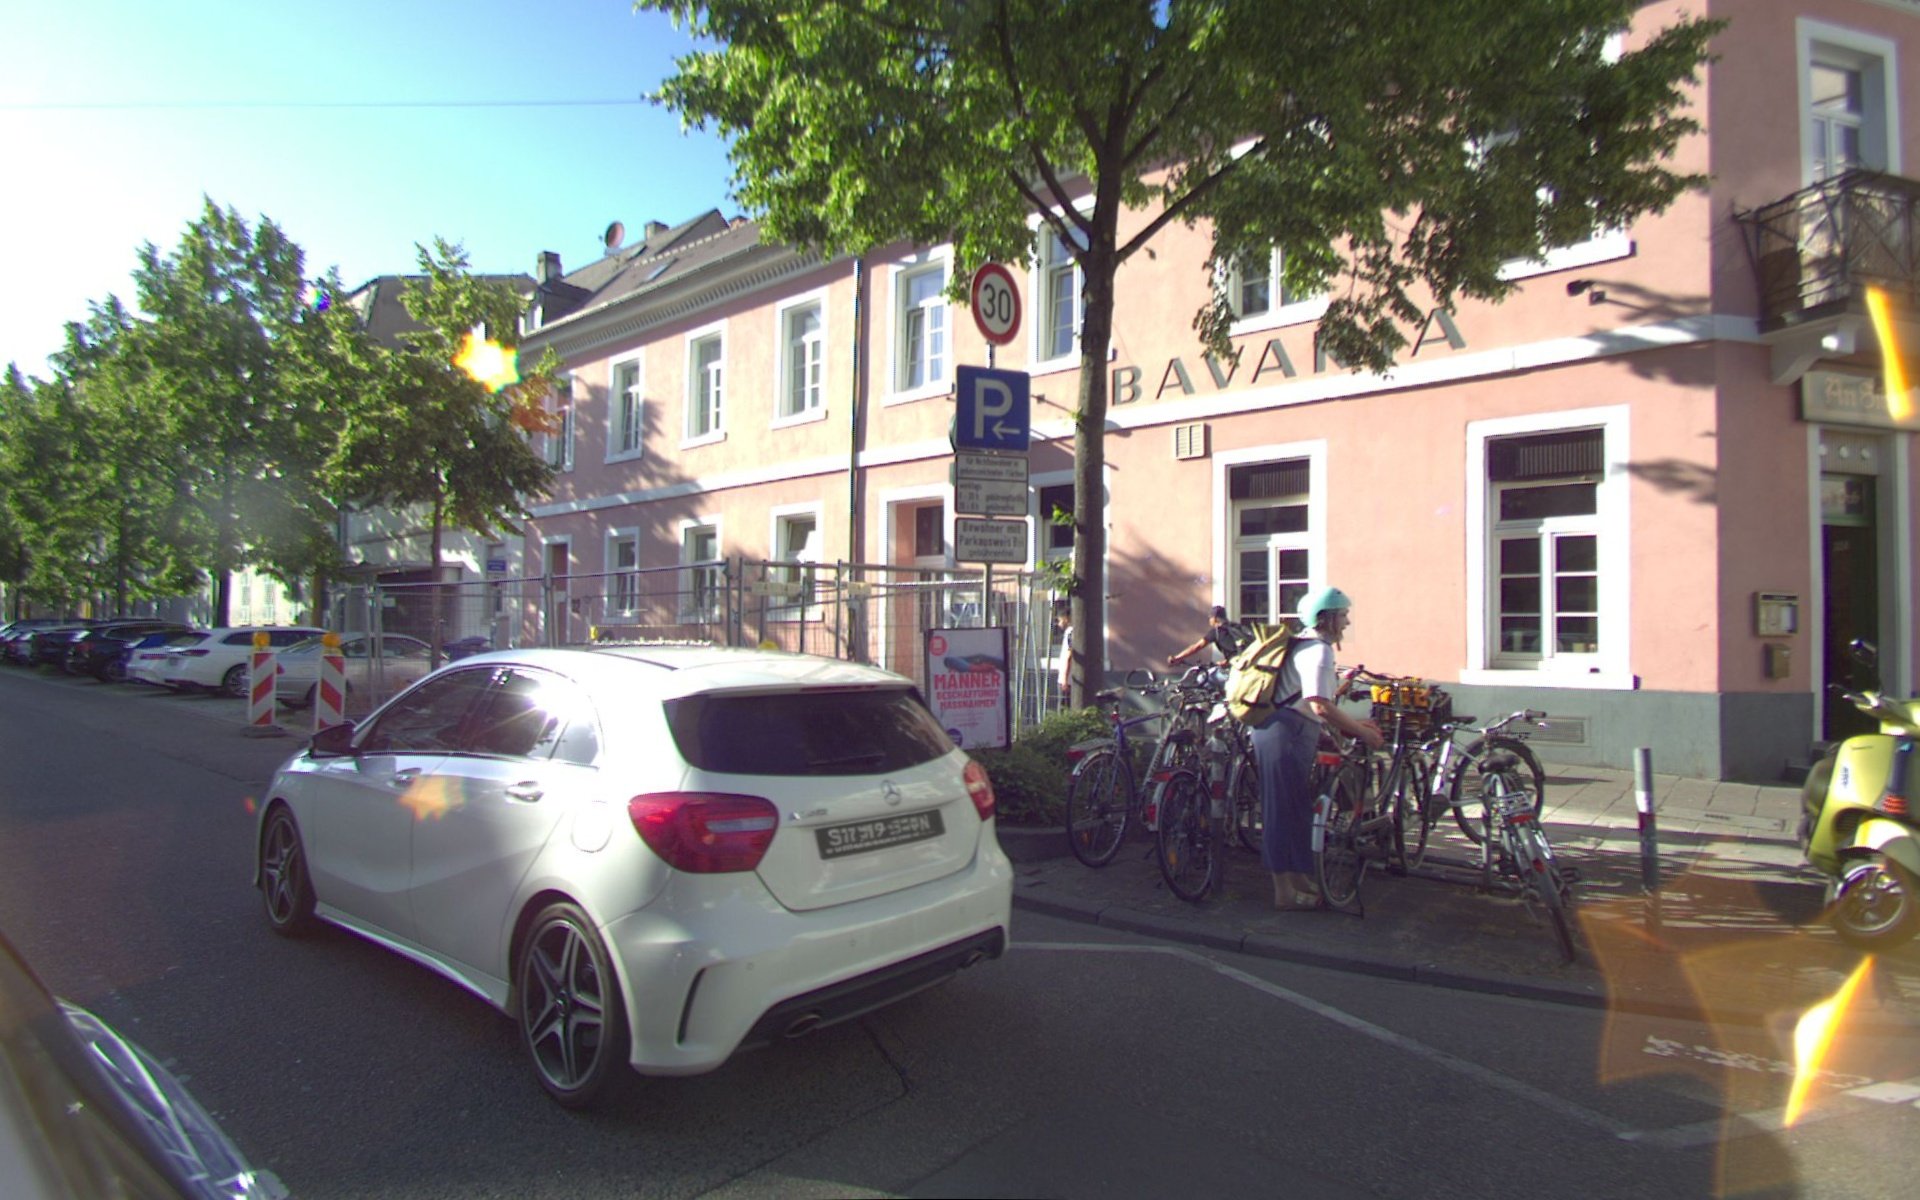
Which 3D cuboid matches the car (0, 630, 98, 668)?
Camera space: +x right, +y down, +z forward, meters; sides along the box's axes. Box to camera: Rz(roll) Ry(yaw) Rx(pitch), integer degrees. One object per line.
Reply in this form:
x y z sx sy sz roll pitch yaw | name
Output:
-45.102 2.346 49.396 1.916 1.785 4.418 -2 -2 42 | car

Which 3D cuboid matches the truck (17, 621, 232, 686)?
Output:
-26.791 1.706 32.627 1.998 1.953 5.033 -2 -3 40 | truck

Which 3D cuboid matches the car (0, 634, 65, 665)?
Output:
-50.341 2.612 53.515 1.917 1.552 4.416 -2 -2 44 | car

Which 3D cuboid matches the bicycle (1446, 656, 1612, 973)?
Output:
2.965 0.949 5.188 0.598 1.261 1.839 -2 -2 33 | bicycle

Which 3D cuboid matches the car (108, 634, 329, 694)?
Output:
-20.242 1.694 27.808 1.808 1.474 4.630 -2 -2 42 | car

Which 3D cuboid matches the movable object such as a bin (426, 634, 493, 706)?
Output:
-8.570 1.183 17.332 0.743 1.195 0.725 -1 -3 32 | movable object such as a bin

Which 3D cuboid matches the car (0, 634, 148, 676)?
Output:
-34.596 2.089 39.259 1.808 1.531 4.630 -2 -2 42 | car

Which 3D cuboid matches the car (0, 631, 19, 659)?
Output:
-63.790 2.914 65.182 1.910 1.848 4.305 -1 -2 32 | car

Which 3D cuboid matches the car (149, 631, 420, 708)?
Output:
-14.715 1.442 22.306 1.805 1.476 4.636 -1 -2 38 | car

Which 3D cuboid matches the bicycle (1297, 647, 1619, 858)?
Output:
3.188 0.954 6.573 1.767 1.261 0.600 -1 -2 -2 | bicycle

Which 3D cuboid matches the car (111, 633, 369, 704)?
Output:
-16.821 1.536 23.869 1.805 1.476 4.636 -1 -2 38 | car

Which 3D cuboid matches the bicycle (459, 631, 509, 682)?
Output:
-12.096 1.419 25.691 1.627 1.255 0.499 -2 -4 40 | bicycle

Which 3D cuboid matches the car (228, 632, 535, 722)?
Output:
-10.586 1.334 18.870 1.805 1.423 4.636 -1 -2 38 | car

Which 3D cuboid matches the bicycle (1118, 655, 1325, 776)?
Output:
2.588 1.110 10.232 0.757 1.067 1.959 2 -3 -39 | bicycle

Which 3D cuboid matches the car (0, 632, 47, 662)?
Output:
-55.699 2.698 58.352 1.915 1.722 4.294 -1 -2 40 | car

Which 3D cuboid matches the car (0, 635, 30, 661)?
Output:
-57.896 2.842 59.604 1.916 1.552 4.417 -2 -2 43 | car

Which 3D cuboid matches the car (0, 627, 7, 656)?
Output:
-67.716 2.821 68.528 1.930 1.941 4.523 -2 -2 43 | car

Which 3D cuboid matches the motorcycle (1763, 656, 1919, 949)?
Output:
4.838 0.939 5.231 0.754 1.239 1.840 -1 -2 29 | motorcycle

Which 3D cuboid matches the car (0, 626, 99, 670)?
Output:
-43.178 2.194 47.034 1.916 1.965 4.630 -2 -2 42 | car

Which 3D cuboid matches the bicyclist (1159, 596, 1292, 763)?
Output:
2.655 0.769 10.167 0.757 1.572 1.042 2 -3 -39 | bicyclist

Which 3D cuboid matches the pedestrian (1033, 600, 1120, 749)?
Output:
1.353 0.851 11.790 0.813 1.666 0.604 -2 -4 44 | pedestrian

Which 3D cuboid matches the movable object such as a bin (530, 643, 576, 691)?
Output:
-9.290 1.531 23.108 0.731 1.068 0.688 -2 -4 42 | movable object such as a bin

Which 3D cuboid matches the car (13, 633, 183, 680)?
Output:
-32.019 2.053 37.711 1.808 1.584 4.630 -2 -2 42 | car

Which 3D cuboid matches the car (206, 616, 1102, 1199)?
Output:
-1.707 0.833 4.606 4.406 1.446 1.784 -2 -3 40 | car

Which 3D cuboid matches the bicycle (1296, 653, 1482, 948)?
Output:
2.385 0.948 5.495 0.598 1.261 1.839 -2 -2 33 | bicycle

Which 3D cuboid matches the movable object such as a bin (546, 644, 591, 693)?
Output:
-8.755 1.520 22.646 0.640 1.068 0.688 -2 -4 42 | movable object such as a bin

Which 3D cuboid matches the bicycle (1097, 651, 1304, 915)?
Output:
1.485 0.961 6.002 0.598 1.261 1.839 -2 -2 33 | bicycle

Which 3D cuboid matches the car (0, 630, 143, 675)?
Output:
-36.586 2.086 41.432 1.808 1.725 4.630 -2 -2 42 | car

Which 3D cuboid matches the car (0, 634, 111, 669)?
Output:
-40.659 2.258 44.745 1.682 1.470 4.598 -1 -2 40 | car

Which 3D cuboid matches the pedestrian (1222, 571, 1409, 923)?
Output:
1.855 0.731 5.403 0.758 1.720 0.792 -1 -2 8 | pedestrian

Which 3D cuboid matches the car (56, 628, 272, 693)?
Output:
-22.774 1.653 29.112 1.808 1.706 4.630 -2 -2 42 | car

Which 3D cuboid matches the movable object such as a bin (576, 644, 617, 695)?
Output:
-7.845 1.492 21.850 0.544 1.068 0.625 -2 -4 41 | movable object such as a bin

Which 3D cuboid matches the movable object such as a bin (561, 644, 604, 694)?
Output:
-8.287 1.504 22.222 0.574 1.068 0.688 -2 -4 41 | movable object such as a bin

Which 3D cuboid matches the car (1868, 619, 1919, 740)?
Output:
14.263 1.078 13.270 1.983 1.708 3.976 -1 -3 18 | car

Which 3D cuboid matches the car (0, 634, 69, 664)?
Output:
-53.661 2.772 57.562 1.808 1.594 4.294 -1 -2 40 | car

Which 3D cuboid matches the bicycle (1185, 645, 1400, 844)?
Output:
2.475 0.980 7.430 1.764 1.261 0.601 0 -2 -38 | bicycle

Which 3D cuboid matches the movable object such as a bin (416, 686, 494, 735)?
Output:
-7.198 1.563 14.412 1.077 0.621 0.621 -2 -4 41 | movable object such as a bin

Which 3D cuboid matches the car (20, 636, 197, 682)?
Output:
-30.318 2.057 36.141 1.808 1.474 4.630 -2 -2 42 | car

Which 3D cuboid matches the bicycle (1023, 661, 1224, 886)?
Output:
1.127 1.028 6.616 0.598 1.179 1.839 -2 -2 33 | bicycle
